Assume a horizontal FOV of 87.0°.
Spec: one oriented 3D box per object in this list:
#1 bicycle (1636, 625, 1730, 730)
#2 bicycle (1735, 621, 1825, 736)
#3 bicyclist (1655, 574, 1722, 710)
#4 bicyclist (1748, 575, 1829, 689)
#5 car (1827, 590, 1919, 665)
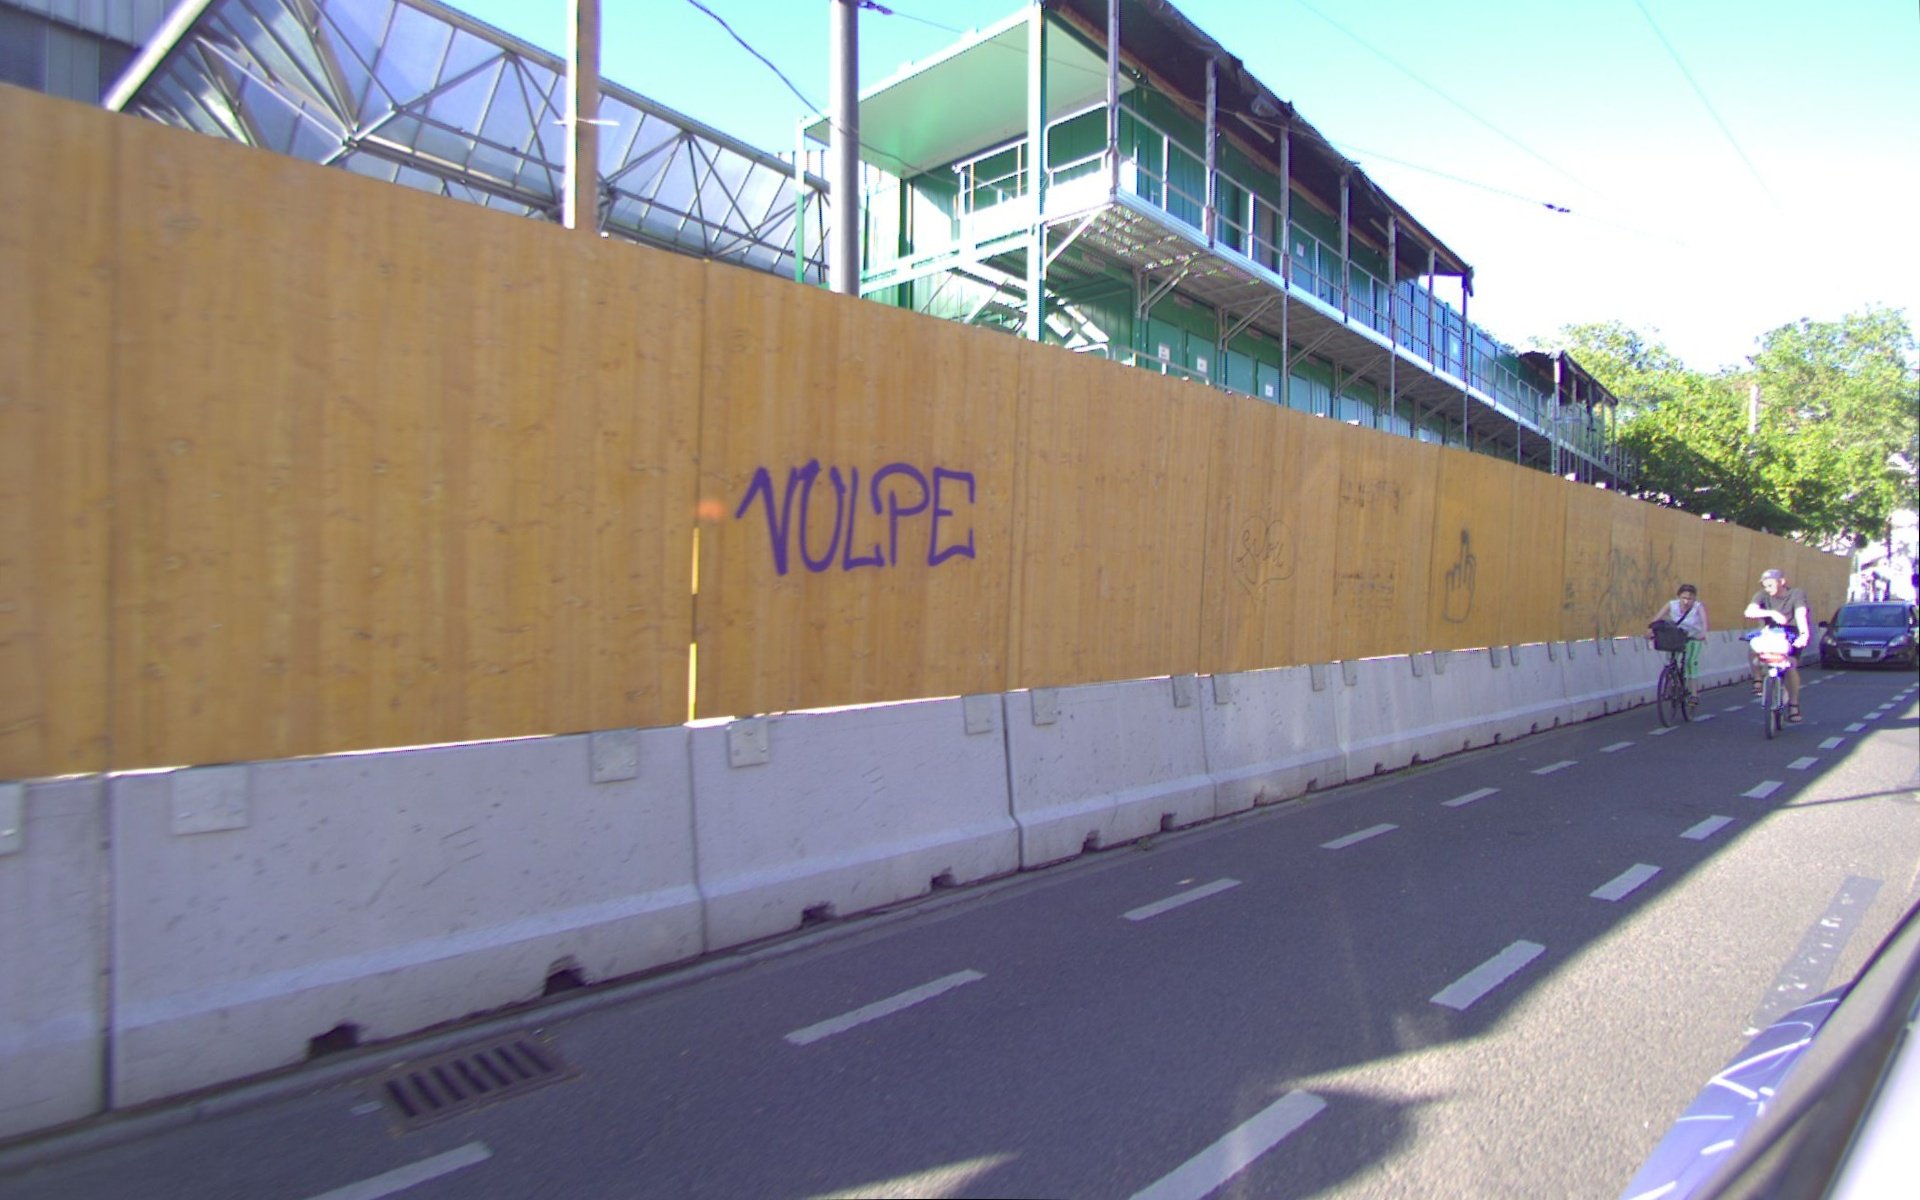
[{"bbox_3d":[8.916,0.899,12.446,2.238,1.141,0.557,0,0,-44],"label":"bicycle"},{"bbox_3d":[9.511,0.850,11.700,0.667,1.169,2.241,-1,-1,42],"label":"bicycle"},{"bbox_3d":[9.060,0.499,12.583,0.567,1.633,0.556,1,1,-44],"label":"bicyclist"},{"bbox_3d":[9.445,0.347,11.546,0.348,1.253,0.652,1,1,-44],"label":"bicyclist"},{"bbox_3d":[22.231,0.617,24.212,4.098,1.643,1.747,0,-1,-42],"label":"car"}]
